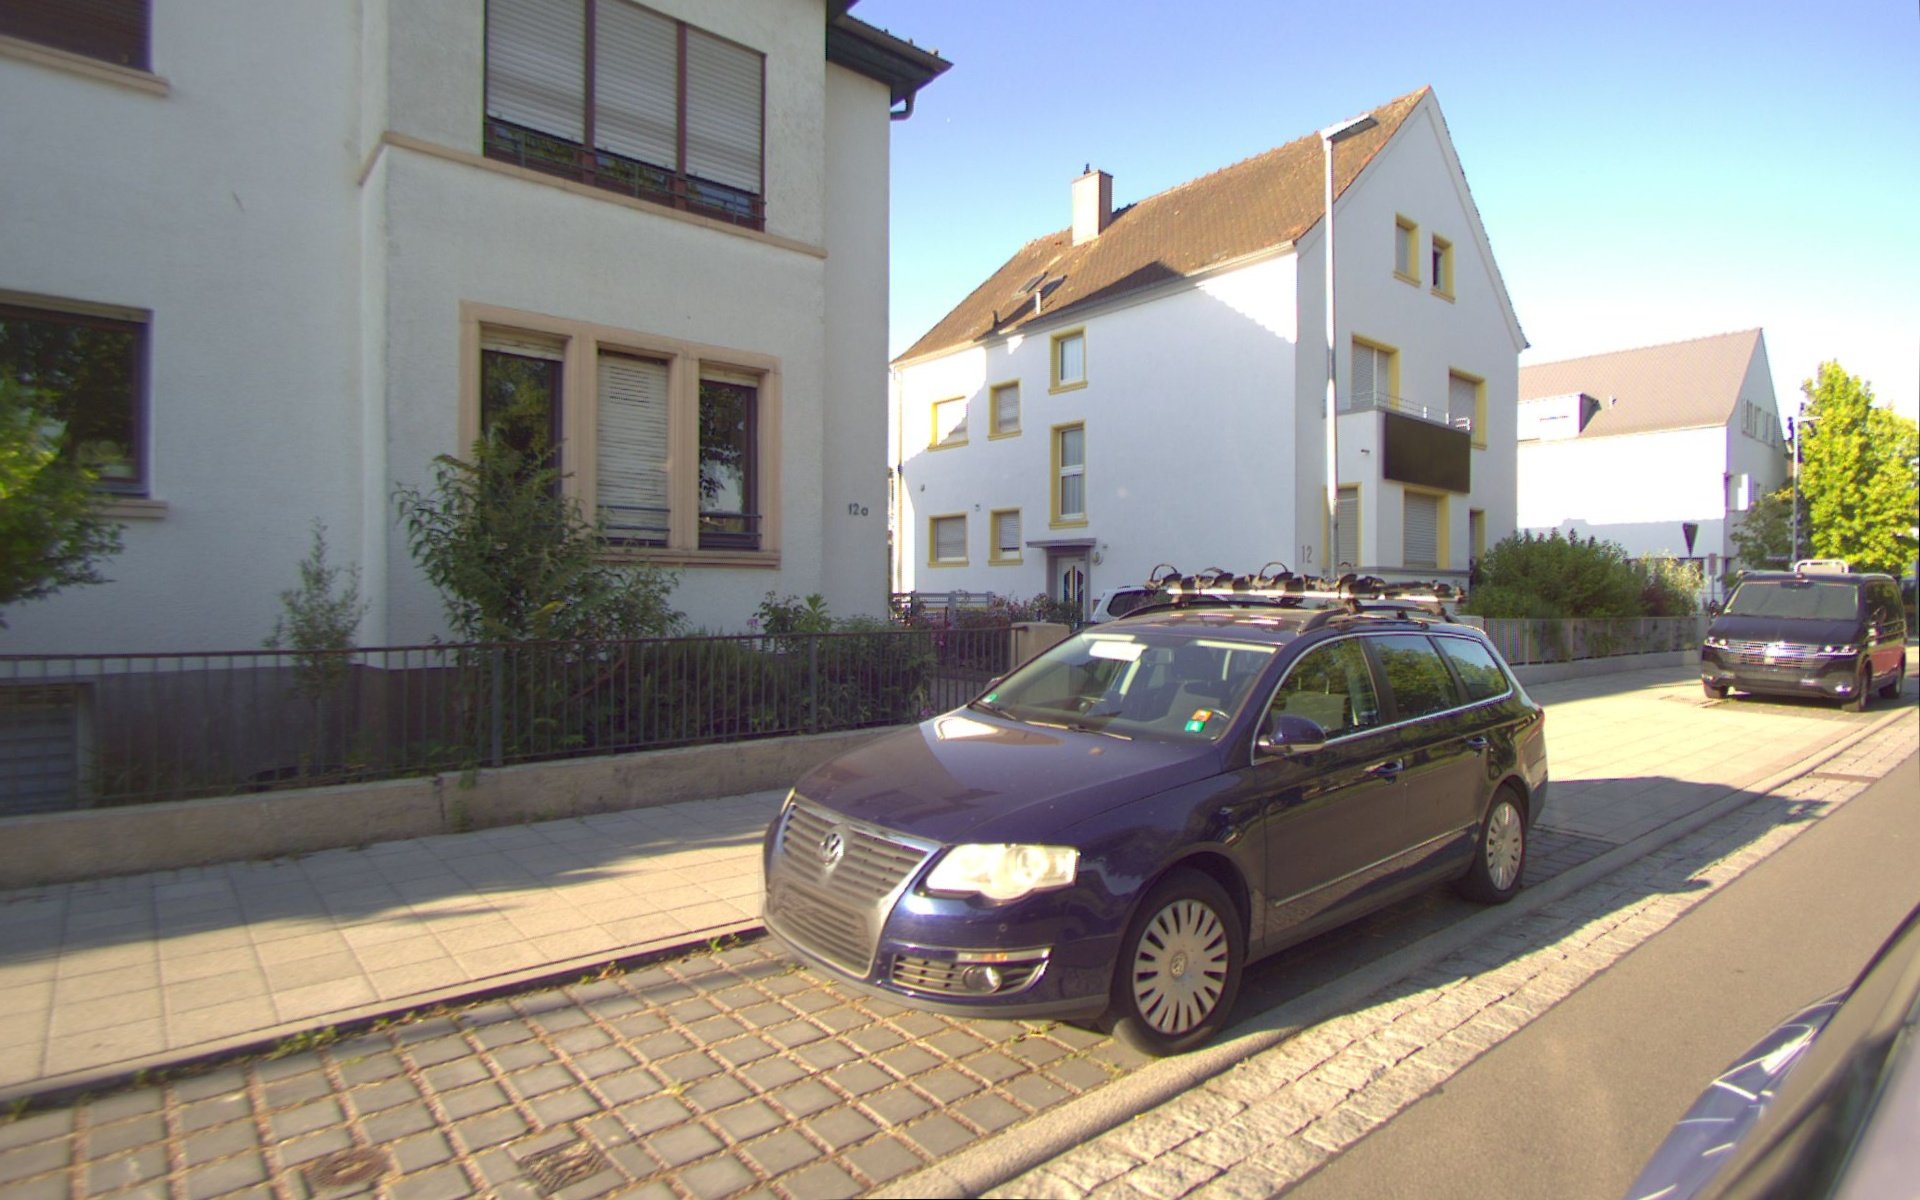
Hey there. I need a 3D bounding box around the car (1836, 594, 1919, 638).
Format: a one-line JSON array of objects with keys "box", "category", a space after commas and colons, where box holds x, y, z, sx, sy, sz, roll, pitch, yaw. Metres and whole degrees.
[{"box": [41.310, 0.712, 44.563, 3.982, 1.869, 1.786, -3, -3, 45], "category": "car"}]

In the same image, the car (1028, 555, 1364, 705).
[{"box": [3.104, 0.333, 13.946, 1.822, 1.747, 4.221, -1, 1, -43], "category": "car"}]

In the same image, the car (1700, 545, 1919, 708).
[{"box": [13.356, 0.307, 15.709, 4.728, 2.158, 1.910, -1, 2, -40], "category": "car"}]

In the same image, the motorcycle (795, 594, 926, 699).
[{"box": [-1.340, 0.555, 13.235, 0.588, 1.263, 2.072, -1, 1, -42], "category": "motorcycle"}]

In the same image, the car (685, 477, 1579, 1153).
[{"box": [1.141, 0.530, 4.805, 4.394, 1.793, 1.797, -1, 2, -41], "category": "car"}]

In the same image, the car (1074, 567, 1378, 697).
[{"box": [4.000, 0.479, 15.764, 1.822, 1.748, 4.220, -1, -1, -43], "category": "car"}]
